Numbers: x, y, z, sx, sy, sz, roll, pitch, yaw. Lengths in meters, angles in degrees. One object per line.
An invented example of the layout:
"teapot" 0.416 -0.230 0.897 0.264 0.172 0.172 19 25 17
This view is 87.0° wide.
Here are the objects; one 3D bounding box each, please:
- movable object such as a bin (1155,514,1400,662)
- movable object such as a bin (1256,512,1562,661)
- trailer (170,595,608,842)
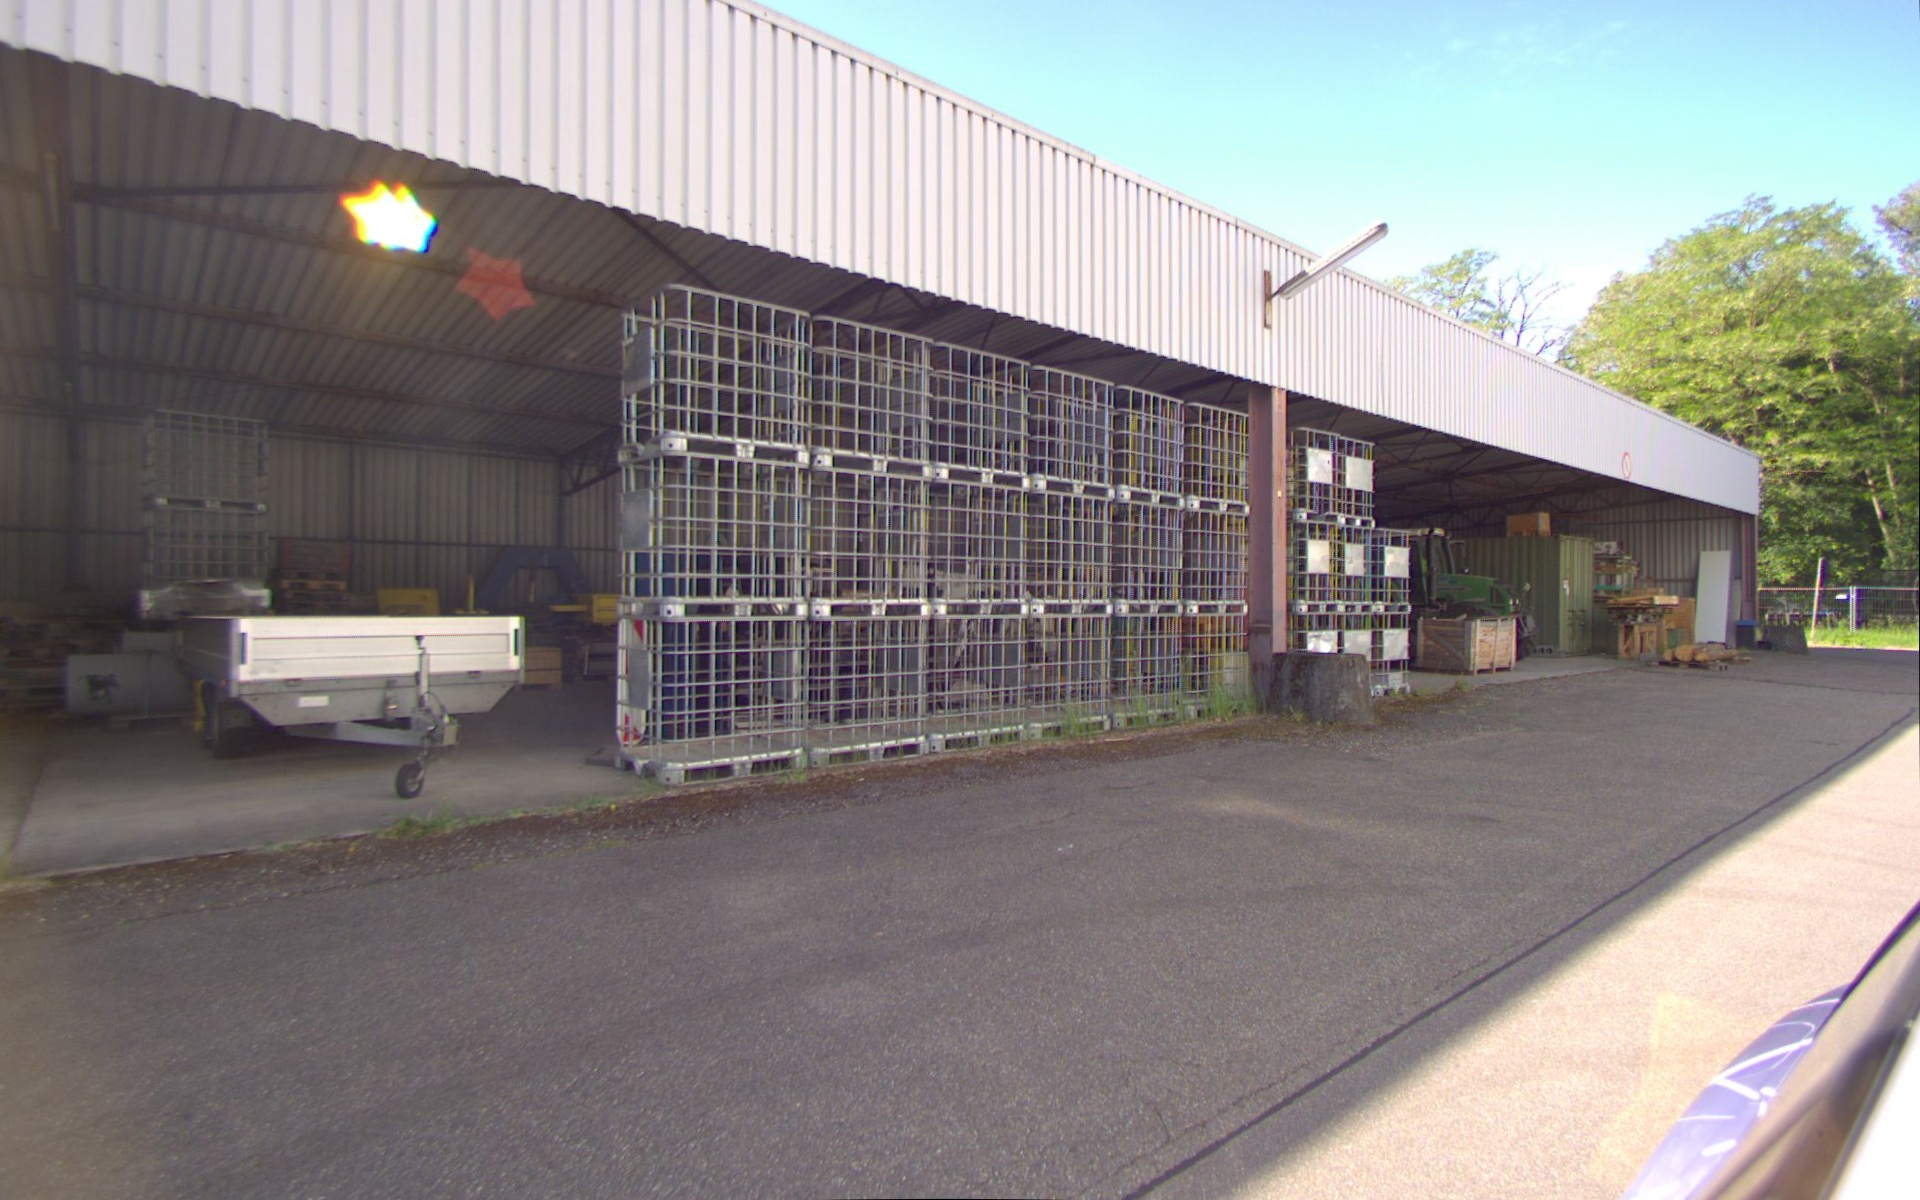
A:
"movable object such as a bin" 6.849 -0.253 22.175 2.453 2.866 4.535 1 0 -40
"movable object such as a bin" 10.132 -0.291 23.276 2.770 2.962 5.845 0 0 -40
"trailer" -4.947 0.617 8.198 1.940 1.200 5.737 -1 2 -42
